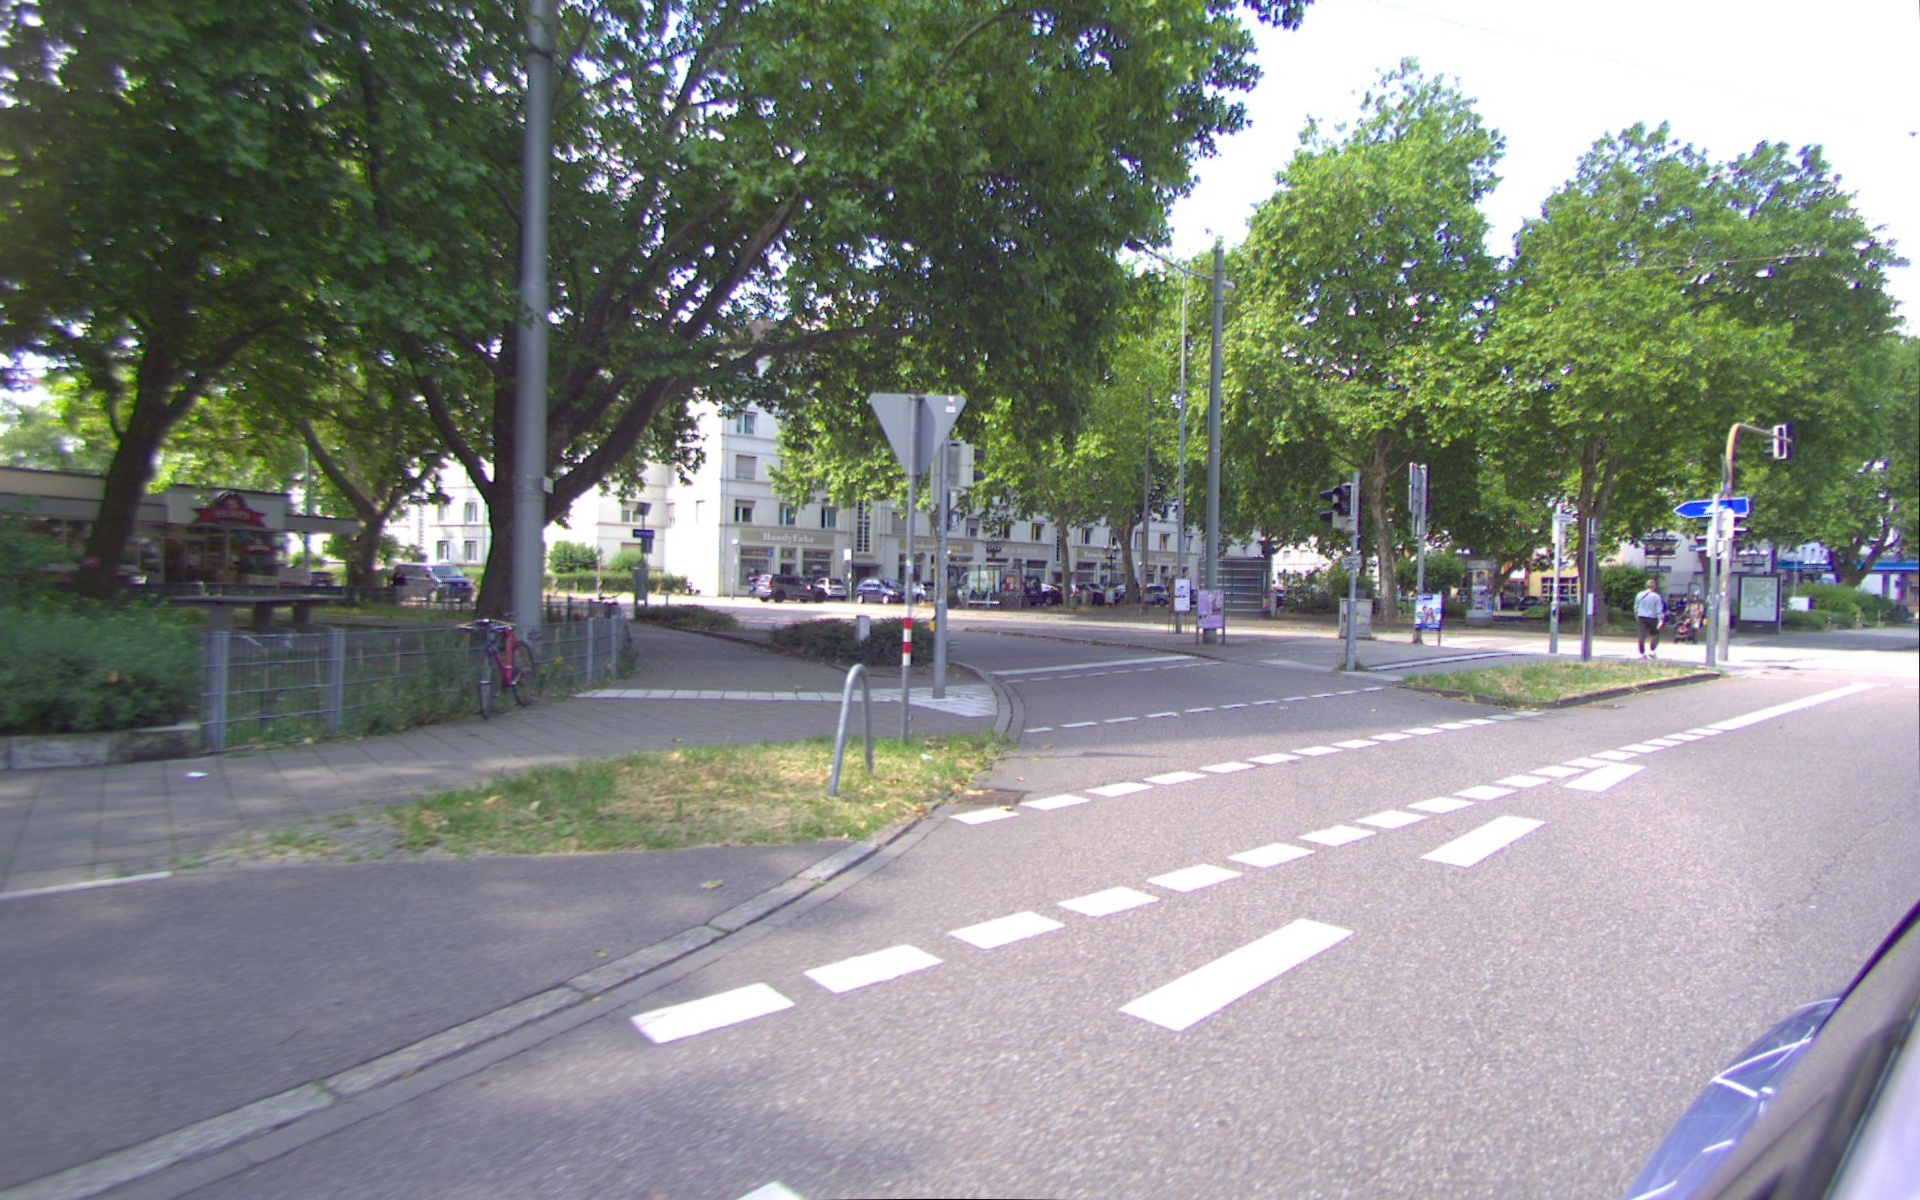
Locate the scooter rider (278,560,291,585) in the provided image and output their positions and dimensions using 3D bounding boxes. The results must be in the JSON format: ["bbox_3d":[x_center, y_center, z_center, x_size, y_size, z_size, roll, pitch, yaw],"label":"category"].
[{"bbox_3d":[-48.927,-1.993,73.336,0.642,1.834,0.523,2,1,26],"label":"scooter rider"}]

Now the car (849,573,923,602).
[{"bbox_3d":[-4.369,-0.741,58.951,1.999,1.620,4.532,0,1,-41],"label":"car"}]

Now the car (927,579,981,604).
[{"bbox_3d":[-0.363,-0.525,61.901,3.226,1.406,1.447,2,1,44],"label":"car"}]

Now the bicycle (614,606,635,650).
[{"bbox_3d":[-6.622,0.533,19.955,0.291,0.806,1.215,1,1,-22],"label":"bicycle"}]

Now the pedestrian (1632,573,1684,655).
[{"bbox_3d":[15.749,0.302,22.844,0.870,1.805,0.694,1,1,-37],"label":"pedestrian"}]

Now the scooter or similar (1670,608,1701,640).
[{"bbox_3d":[24.634,0.808,34.356,0.693,1.069,0.492,1,1,-14],"label":"scooter or similar"}]

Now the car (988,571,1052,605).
[{"bbox_3d":[3.839,-0.801,65.695,1.964,2.102,3.997,1,1,-39],"label":"car"}]

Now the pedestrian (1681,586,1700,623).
[{"bbox_3d":[35.781,0.198,49.585,0.600,1.772,0.692,2,1,27],"label":"pedestrian"}]

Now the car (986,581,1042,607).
[{"bbox_3d":[3.173,-0.367,59.319,3.056,1.406,1.448,2,1,42],"label":"car"}]

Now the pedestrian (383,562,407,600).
[{"bbox_3d":[-22.712,-0.752,40.658,0.573,1.497,0.661,1,0,40],"label":"pedestrian"}]

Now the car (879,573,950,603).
[{"bbox_3d":[-2.790,-0.741,61.258,1.878,1.711,4.532,0,1,-41],"label":"car"}]

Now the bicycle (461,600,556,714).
[{"bbox_3d":[-4.536,0.532,10.264,0.523,1.022,1.732,1,1,-13],"label":"bicycle"}]

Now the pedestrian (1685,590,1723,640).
[{"bbox_3d":[25.403,0.501,34.560,0.903,1.666,0.571,1,1,-14],"label":"pedestrian"}]

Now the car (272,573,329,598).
[{"bbox_3d":[-44.407,-1.004,68.166,3.600,1.574,1.714,2,1,28],"label":"car"}]

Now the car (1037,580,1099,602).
[{"bbox_3d":[7.312,-0.620,68.619,1.964,1.440,3.997,1,1,-39],"label":"car"}]

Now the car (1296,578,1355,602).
[{"bbox_3d":[32.025,-0.893,88.787,2.065,1.929,4.489,0,1,-37],"label":"car"}]

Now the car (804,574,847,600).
[{"bbox_3d":[-9.241,-0.887,69.356,1.445,1.687,3.060,1,1,-43],"label":"car"}]

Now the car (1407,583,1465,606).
[{"bbox_3d":[39.890,-0.443,84.828,1.835,1.822,3.998,0,1,-37],"label":"car"}]

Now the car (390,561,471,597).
[{"bbox_3d":[-26.503,-1.076,50.665,3.716,1.681,1.849,2,1,29],"label":"car"}]

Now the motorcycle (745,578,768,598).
[{"bbox_3d":[-13.271,-0.795,65.977,0.561,1.259,1.882,0,1,-41],"label":"motorcycle"}]

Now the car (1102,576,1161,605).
[{"bbox_3d":[12.544,-0.728,74.163,1.963,2.039,3.998,0,1,-38],"label":"car"}]

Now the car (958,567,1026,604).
[{"bbox_3d":[1.999,-0.934,63.651,1.964,2.210,4.254,1,1,-39],"label":"car"}]

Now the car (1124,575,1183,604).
[{"bbox_3d":[14.429,-0.798,75.744,1.965,2.039,3.994,0,1,-41],"label":"car"}]

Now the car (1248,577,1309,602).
[{"bbox_3d":[26.621,-0.901,84.651,2.065,1.929,4.489,0,1,-37],"label":"car"}]

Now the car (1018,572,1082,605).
[{"bbox_3d":[5.939,-0.791,66.971,1.964,2.102,3.997,1,1,-39],"label":"car"}]

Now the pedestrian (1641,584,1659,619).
[{"bbox_3d":[34.721,0.069,50.905,0.600,1.772,0.692,2,1,27],"label":"pedestrian"}]

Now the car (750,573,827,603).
[{"bbox_3d":[-10.062,-0.687,59.536,1.787,1.681,4.247,3,2,44],"label":"car"}]
